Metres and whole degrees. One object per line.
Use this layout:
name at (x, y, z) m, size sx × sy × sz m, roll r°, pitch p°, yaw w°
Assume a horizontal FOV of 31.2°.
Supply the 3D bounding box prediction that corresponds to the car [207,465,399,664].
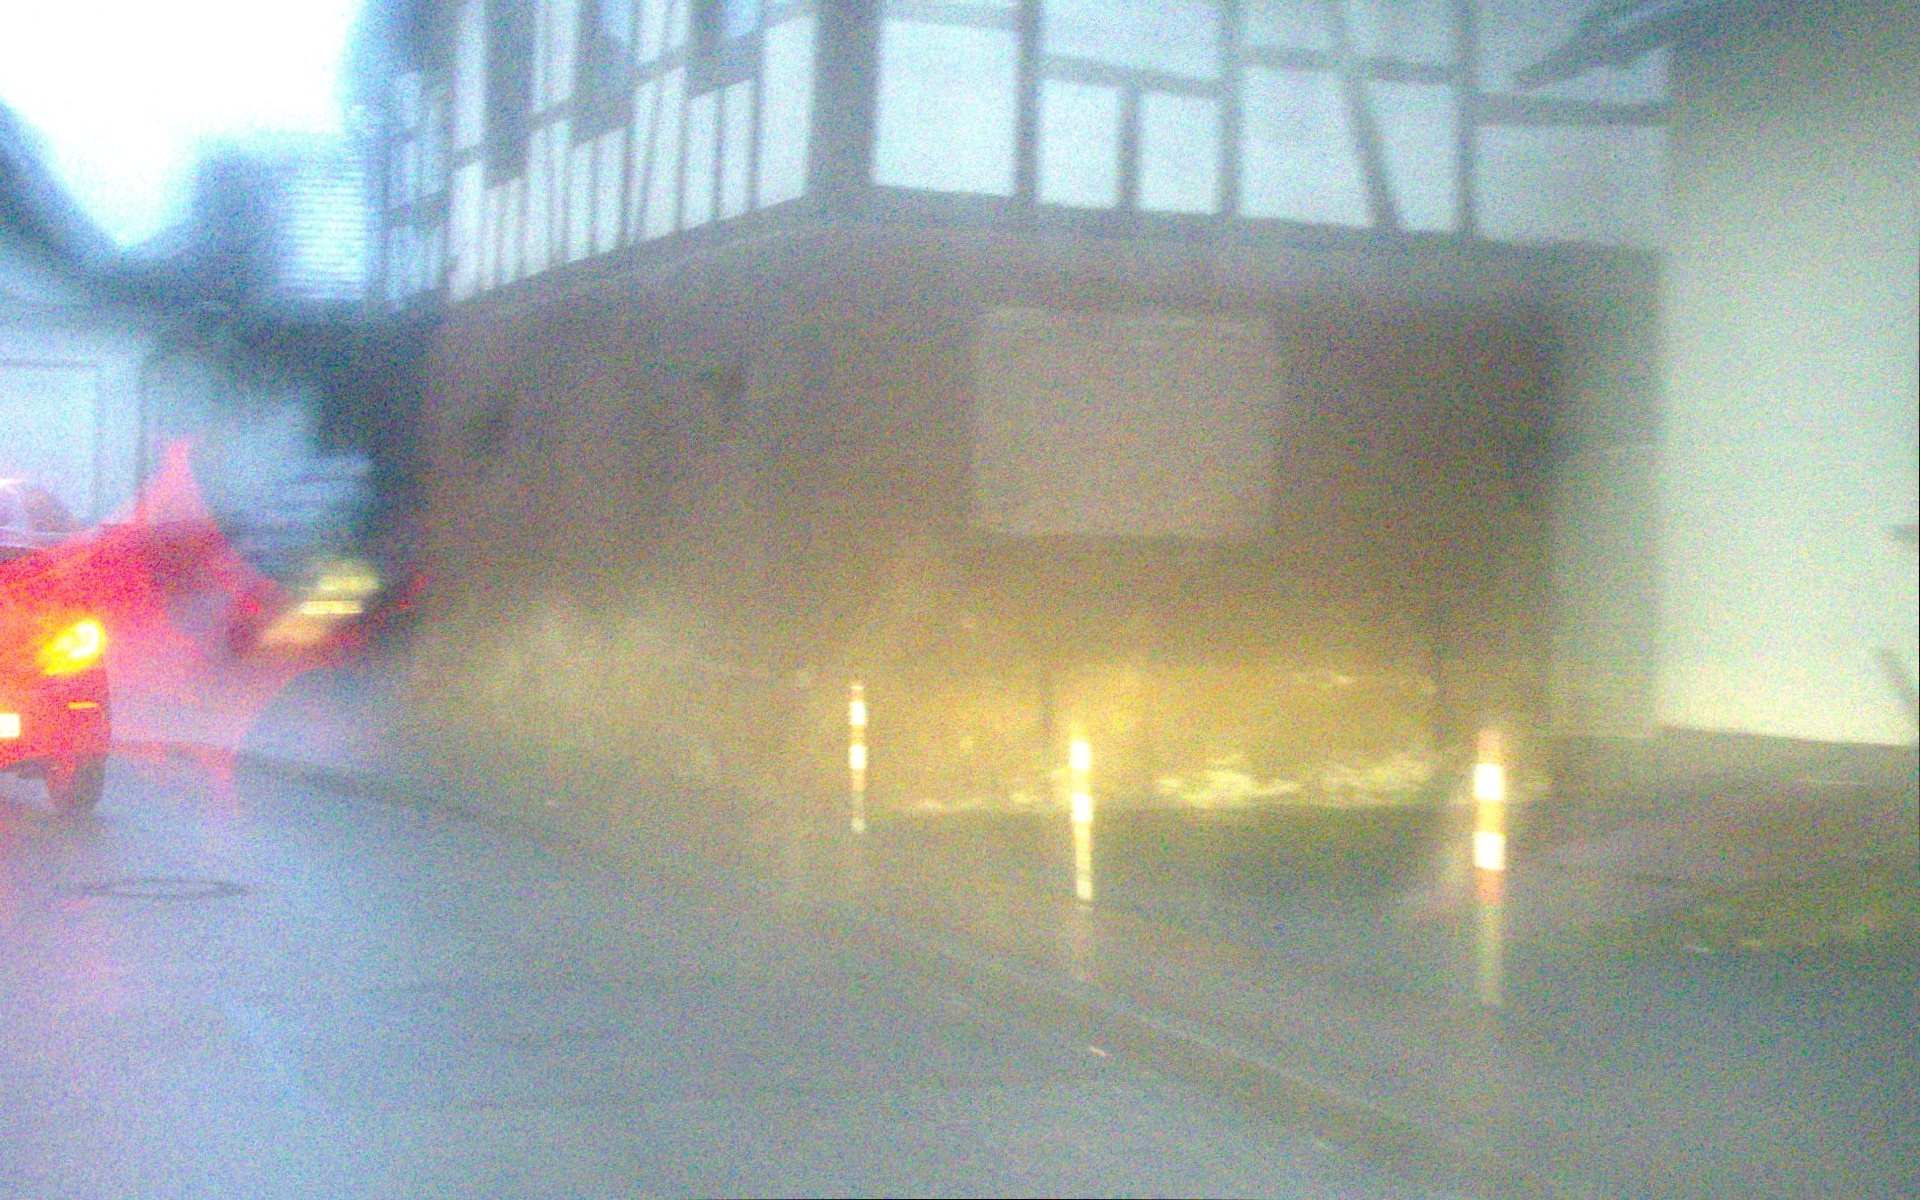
car at (-5.988, -0.383, 31.382) m, size 1.592 × 1.510 × 3.986 m, roll -1°, pitch 5°, yaw -11°

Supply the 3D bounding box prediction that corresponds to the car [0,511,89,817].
car at (-5.827, 0.235, 17.879) m, size 1.546 × 1.461 × 3.699 m, roll 3°, pitch 0°, yaw -29°

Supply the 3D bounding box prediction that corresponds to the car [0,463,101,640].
car at (-9.471, -0.509, 32.733) m, size 1.809 × 1.415 × 4.040 m, roll 0°, pitch 5°, yaw -4°
